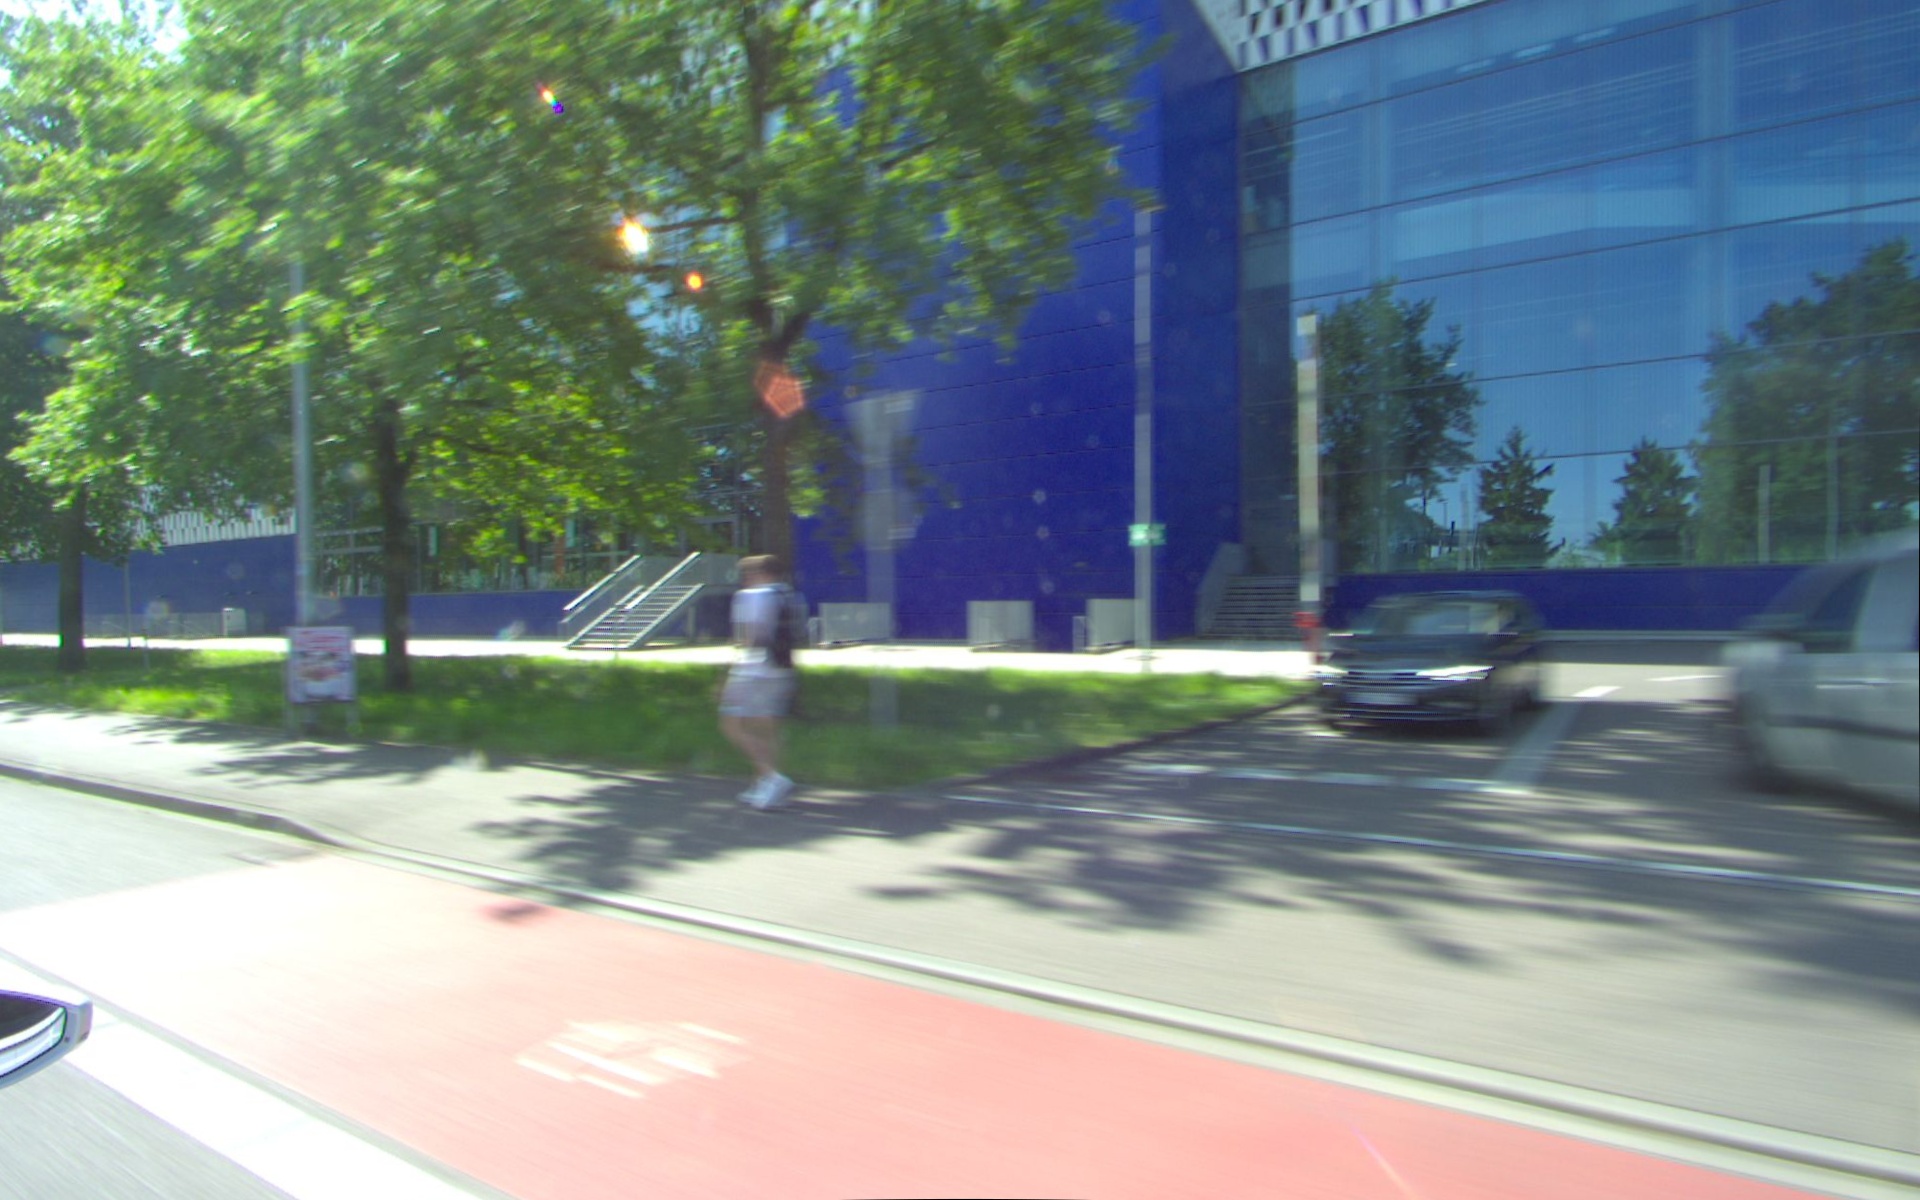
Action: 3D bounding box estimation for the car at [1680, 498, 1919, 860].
[{"bbox_3d":[5.940,0.395,5.391,1.876,1.853,4.176,-1,0,13],"label":"car"}]

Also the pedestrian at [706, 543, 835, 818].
[{"bbox_3d":[-1.358,0.551,7.192,0.717,1.866,0.534,0,1,32],"label":"pedestrian"}]

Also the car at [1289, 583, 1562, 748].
[{"bbox_3d":[5.555,0.612,11.625,1.888,1.540,4.341,0,0,39],"label":"car"}]

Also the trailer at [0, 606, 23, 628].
[{"bbox_3d":[-110.519,1.726,109.288,1.971,2.501,11.854,1,-1,32],"label":"trailer"}]
